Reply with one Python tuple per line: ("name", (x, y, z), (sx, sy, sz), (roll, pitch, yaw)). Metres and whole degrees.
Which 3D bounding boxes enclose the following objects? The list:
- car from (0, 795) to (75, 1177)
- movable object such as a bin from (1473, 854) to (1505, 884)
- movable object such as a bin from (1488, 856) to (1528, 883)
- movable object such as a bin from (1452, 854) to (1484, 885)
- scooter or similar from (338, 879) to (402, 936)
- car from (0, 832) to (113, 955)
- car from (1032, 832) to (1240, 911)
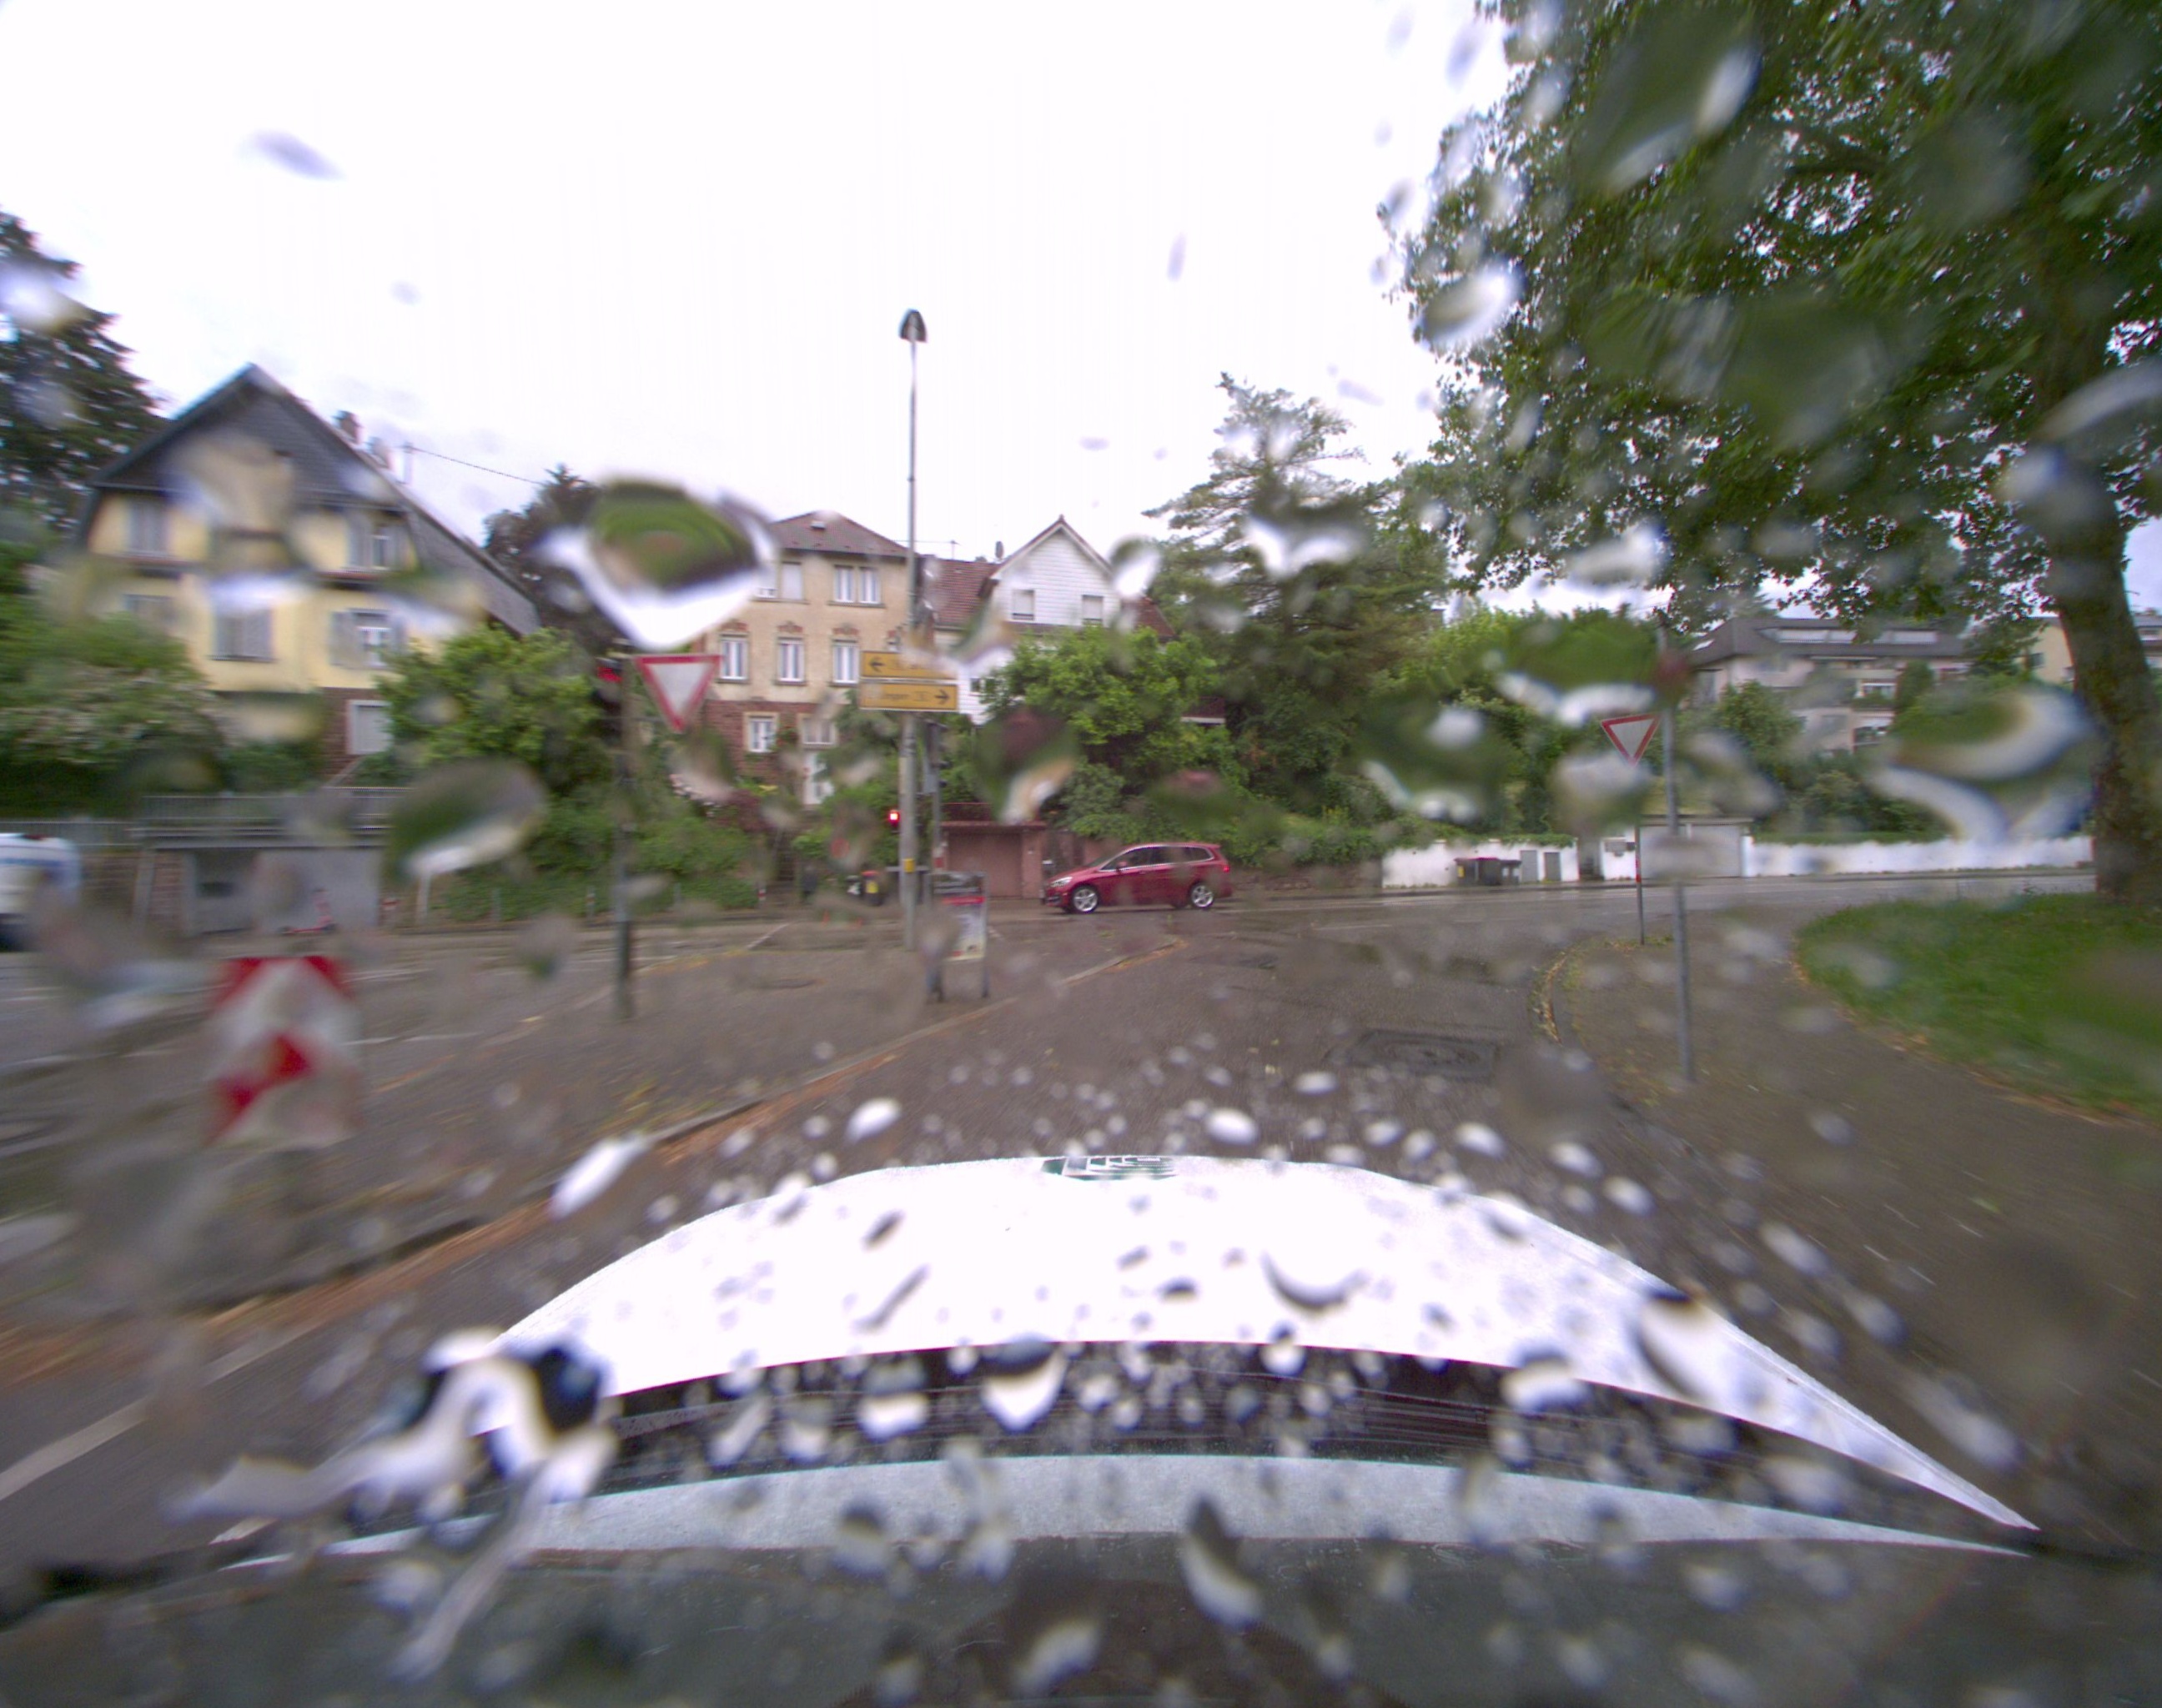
("car", (-5.159, 0.603, 1.523), (1.764, 1.711, 4.576), (1, 0, -16))
("movable object such as a bin", (14.644, 0.536, 29.236), (0.792, 1.060, 0.633), (-1, -1, -14))
("movable object such as a bin", (15.562, 0.572, 29.704), (0.952, 0.916, 0.848), (-2, -1, -14))
("movable object such as a bin", (13.843, 0.556, 29.161), (0.752, 1.060, 0.685), (-1, -1, -14))
("scooter or similar", (-17.468, 1.296, 20.020), (0.456, 1.334, 1.100), (-3, -2, 34))
("car", (-24.935, 0.842, 17.061), (5.666, 2.494, 2.305), (0, -2, -13))
("car", (1.254, 0.388, 19.255), (4.573, 1.601, 1.767), (-2, -1, -13))
